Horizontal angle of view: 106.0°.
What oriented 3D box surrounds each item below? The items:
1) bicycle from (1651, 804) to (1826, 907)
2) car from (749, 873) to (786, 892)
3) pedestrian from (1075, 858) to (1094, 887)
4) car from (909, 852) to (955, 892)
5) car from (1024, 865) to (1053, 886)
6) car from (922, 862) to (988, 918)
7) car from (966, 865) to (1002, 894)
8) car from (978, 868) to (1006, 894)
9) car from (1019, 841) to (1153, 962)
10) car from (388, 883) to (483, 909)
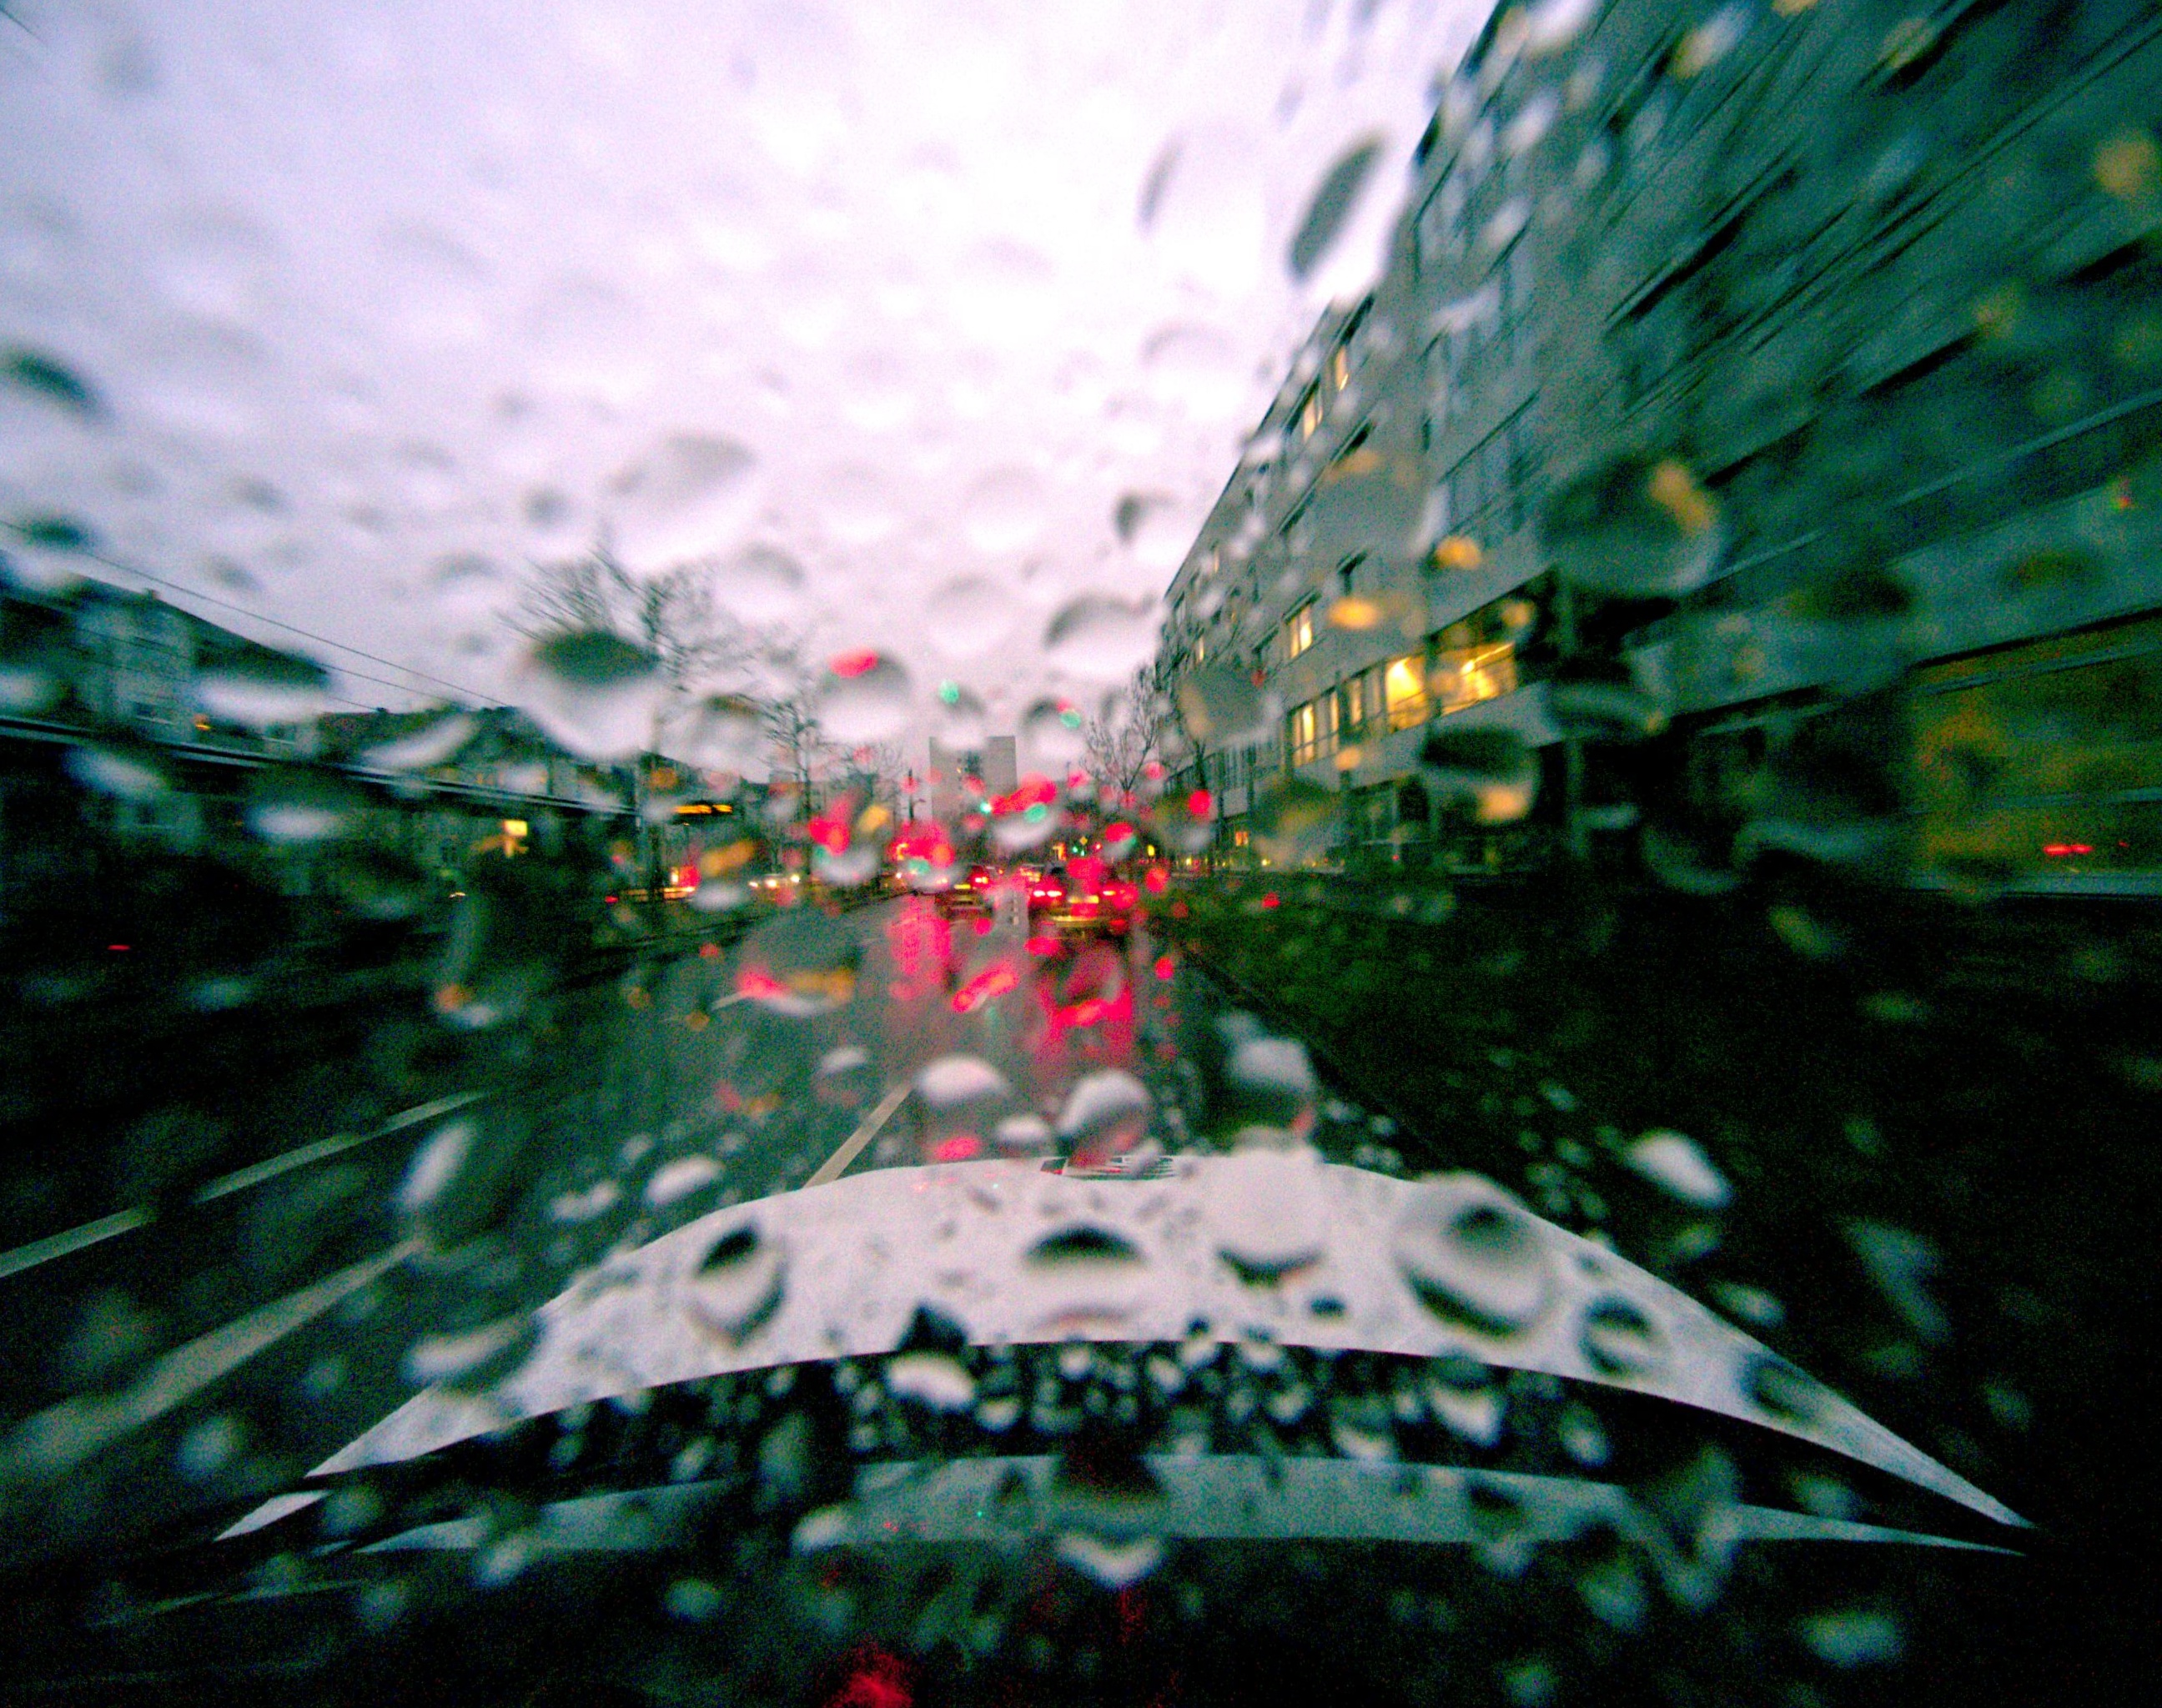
[{"bbox_3d":[9.428,0.015,11.853,0.817,1.273,2.465,-6,-1,11],"label":"bicycle"},{"bbox_3d":[-26.332,2.414,68.527,1.754,1.497,3.756,-1,-2,-2],"label":"car"},{"bbox_3d":[0.253,1.171,52.515,0.789,1.750,0.866,-6,-1,22],"label":"pedestrian"},{"bbox_3d":[-8.155,0.987,44.971,1.949,2.034,4.874,-1,-1,-5],"label":"car"},{"bbox_3d":[-2.955,1.421,55.926,1.884,1.353,4.094,-1,-1,-5],"label":"car"},{"bbox_3d":[-4.188,1.190,27.694,1.991,1.712,4.315,-1,-2,-6],"label":"car"},{"bbox_3d":[-5.807,1.517,48.998,1.990,1.642,4.015,-1,-2,-5],"label":"car"},{"bbox_3d":[-7.155,2.220,65.913,1.989,2.014,3.996,-1,-2,-2],"label":"car"},{"bbox_3d":[-0.061,0.840,15.457,1.992,1.976,4.056,0,-2,-8],"label":"car"},{"bbox_3d":[-36.498,2.372,46.141,3.798,1.367,1.692,0,-2,-10],"label":"car"}]
